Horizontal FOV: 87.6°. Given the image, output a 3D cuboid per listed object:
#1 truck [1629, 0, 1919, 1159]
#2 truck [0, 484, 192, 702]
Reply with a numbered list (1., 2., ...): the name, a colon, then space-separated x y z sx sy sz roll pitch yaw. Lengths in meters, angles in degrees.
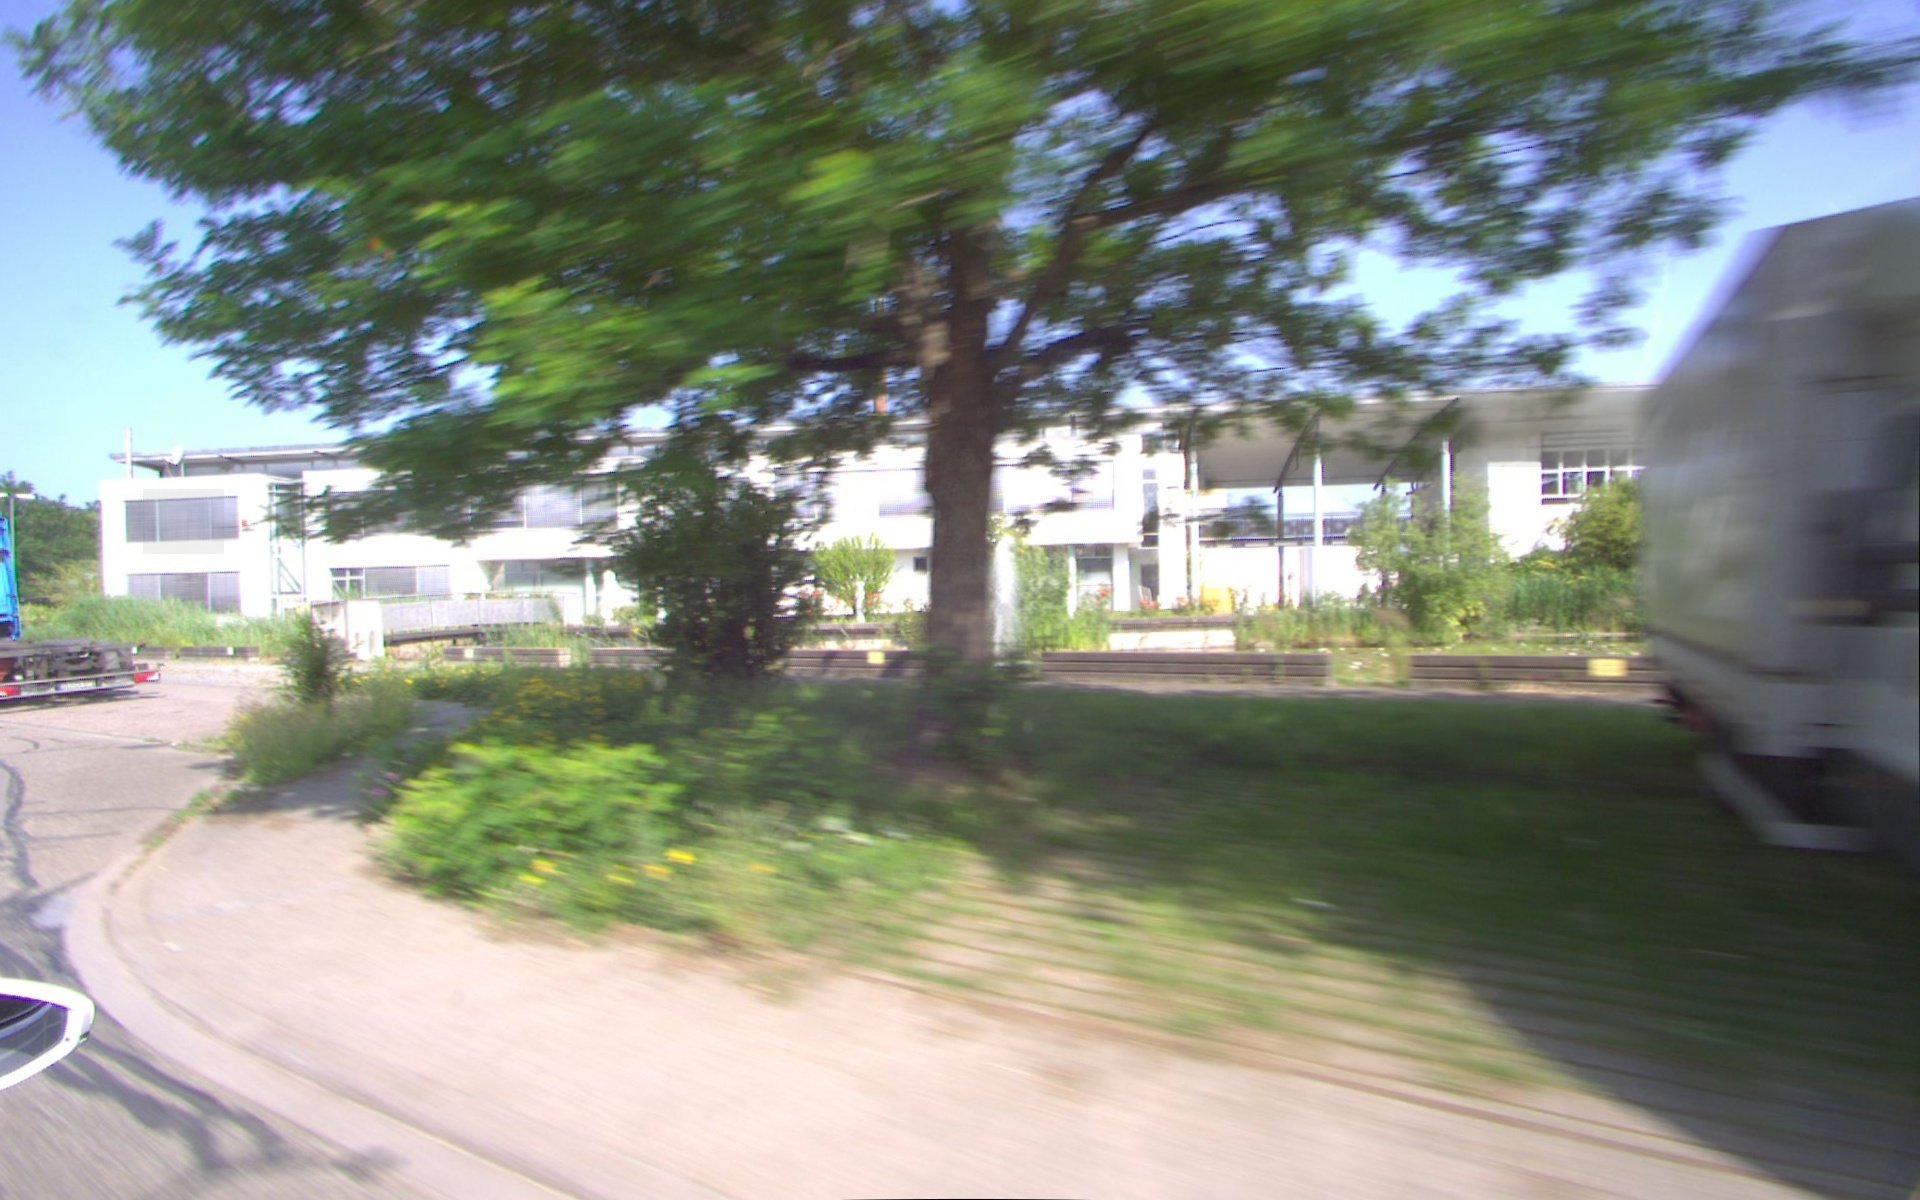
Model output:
1. truck: 5.065 -0.408 4.561 2.701 3.414 8.196 -2 0 30
2. truck: -19.340 -0.033 20.049 9.616 3.584 2.880 -2 3 32
